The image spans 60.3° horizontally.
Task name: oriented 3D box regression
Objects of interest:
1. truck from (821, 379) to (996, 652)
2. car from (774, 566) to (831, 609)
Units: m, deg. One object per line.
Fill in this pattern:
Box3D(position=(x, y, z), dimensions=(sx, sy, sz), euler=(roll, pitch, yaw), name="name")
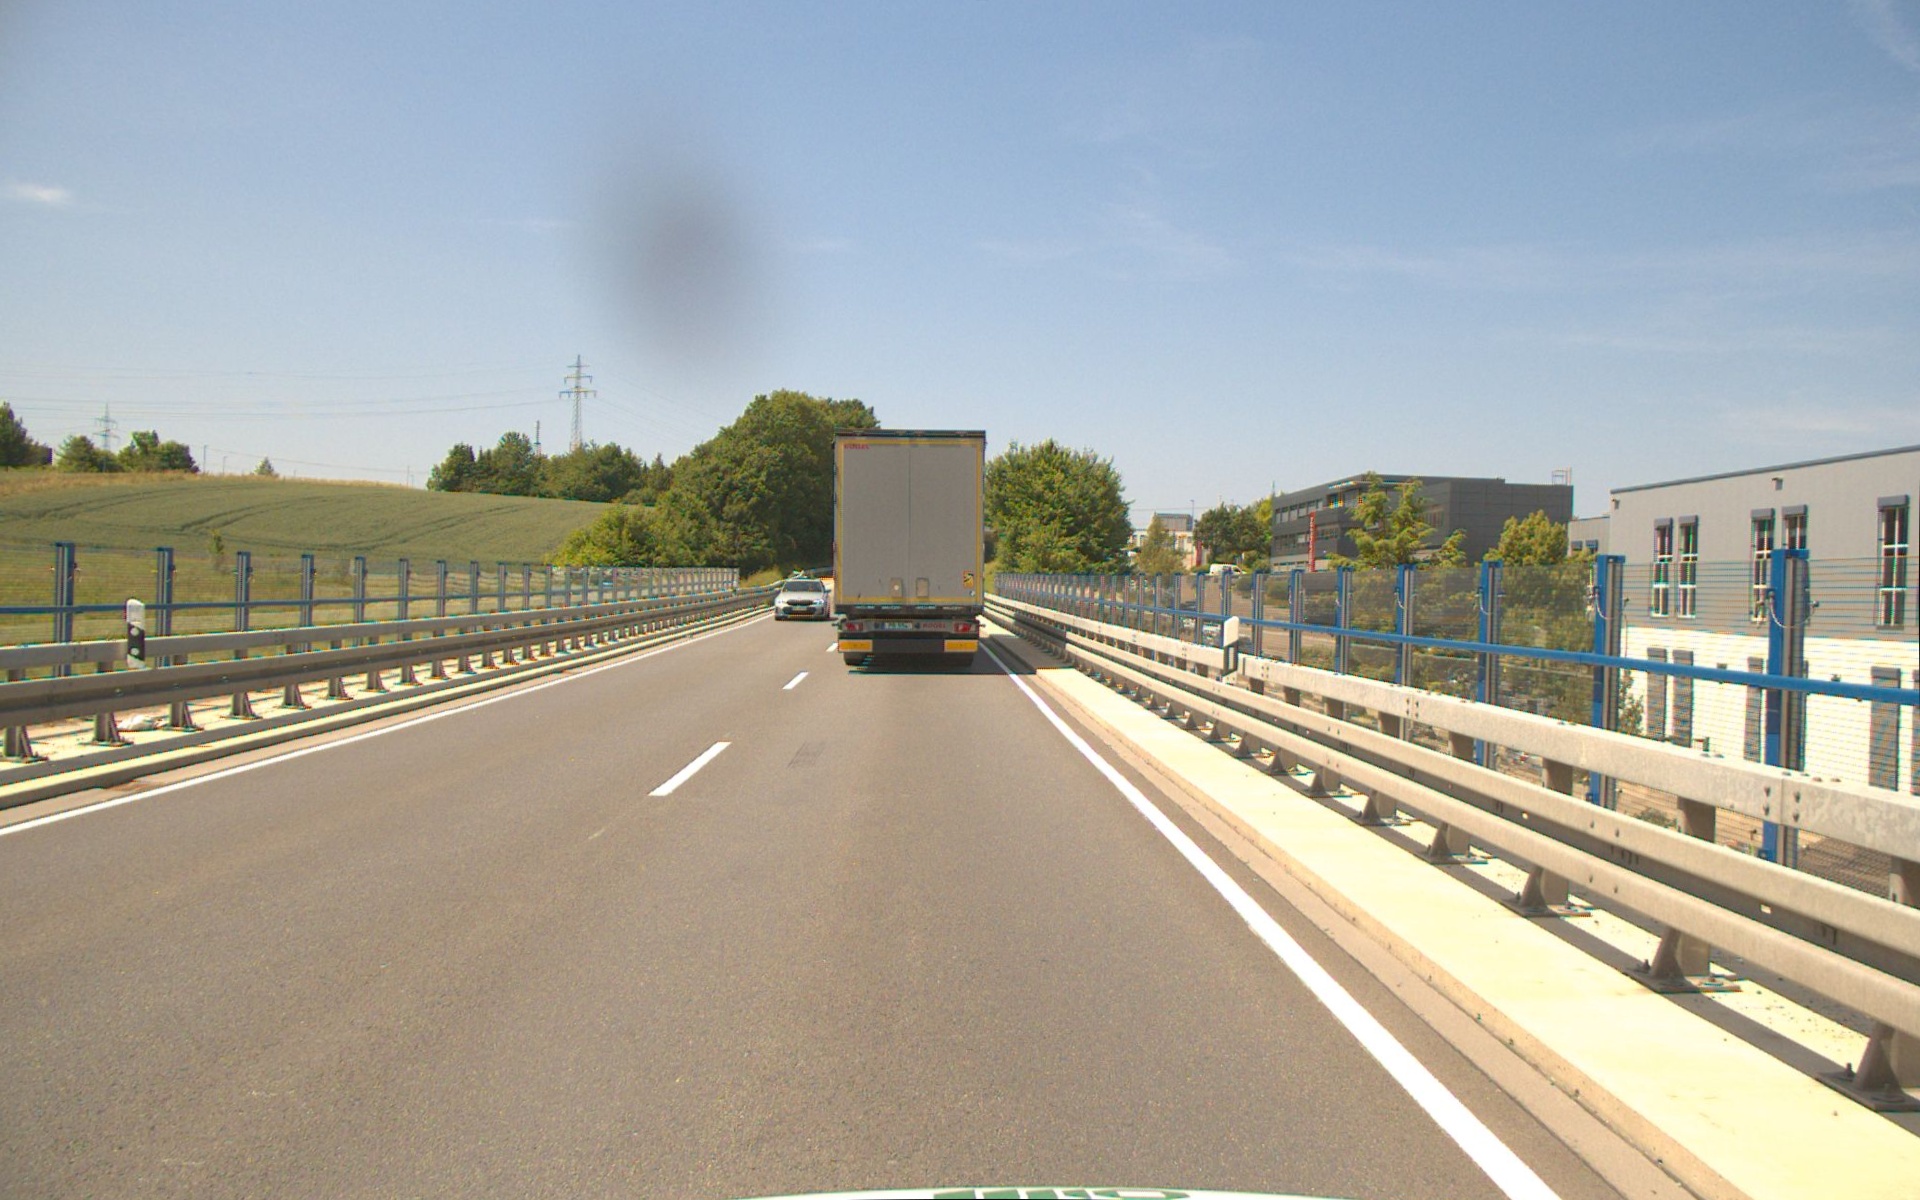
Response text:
Box3D(position=(-1.003, -1.377, 31.859), dimensions=(2.808, 4.436, 9.785), euler=(-1, 0, -2), name="truck")
Box3D(position=(-5.586, -0.480, 59.119), dimensions=(1.745, 1.460, 4.833), euler=(0, 1, -2), name="car")
